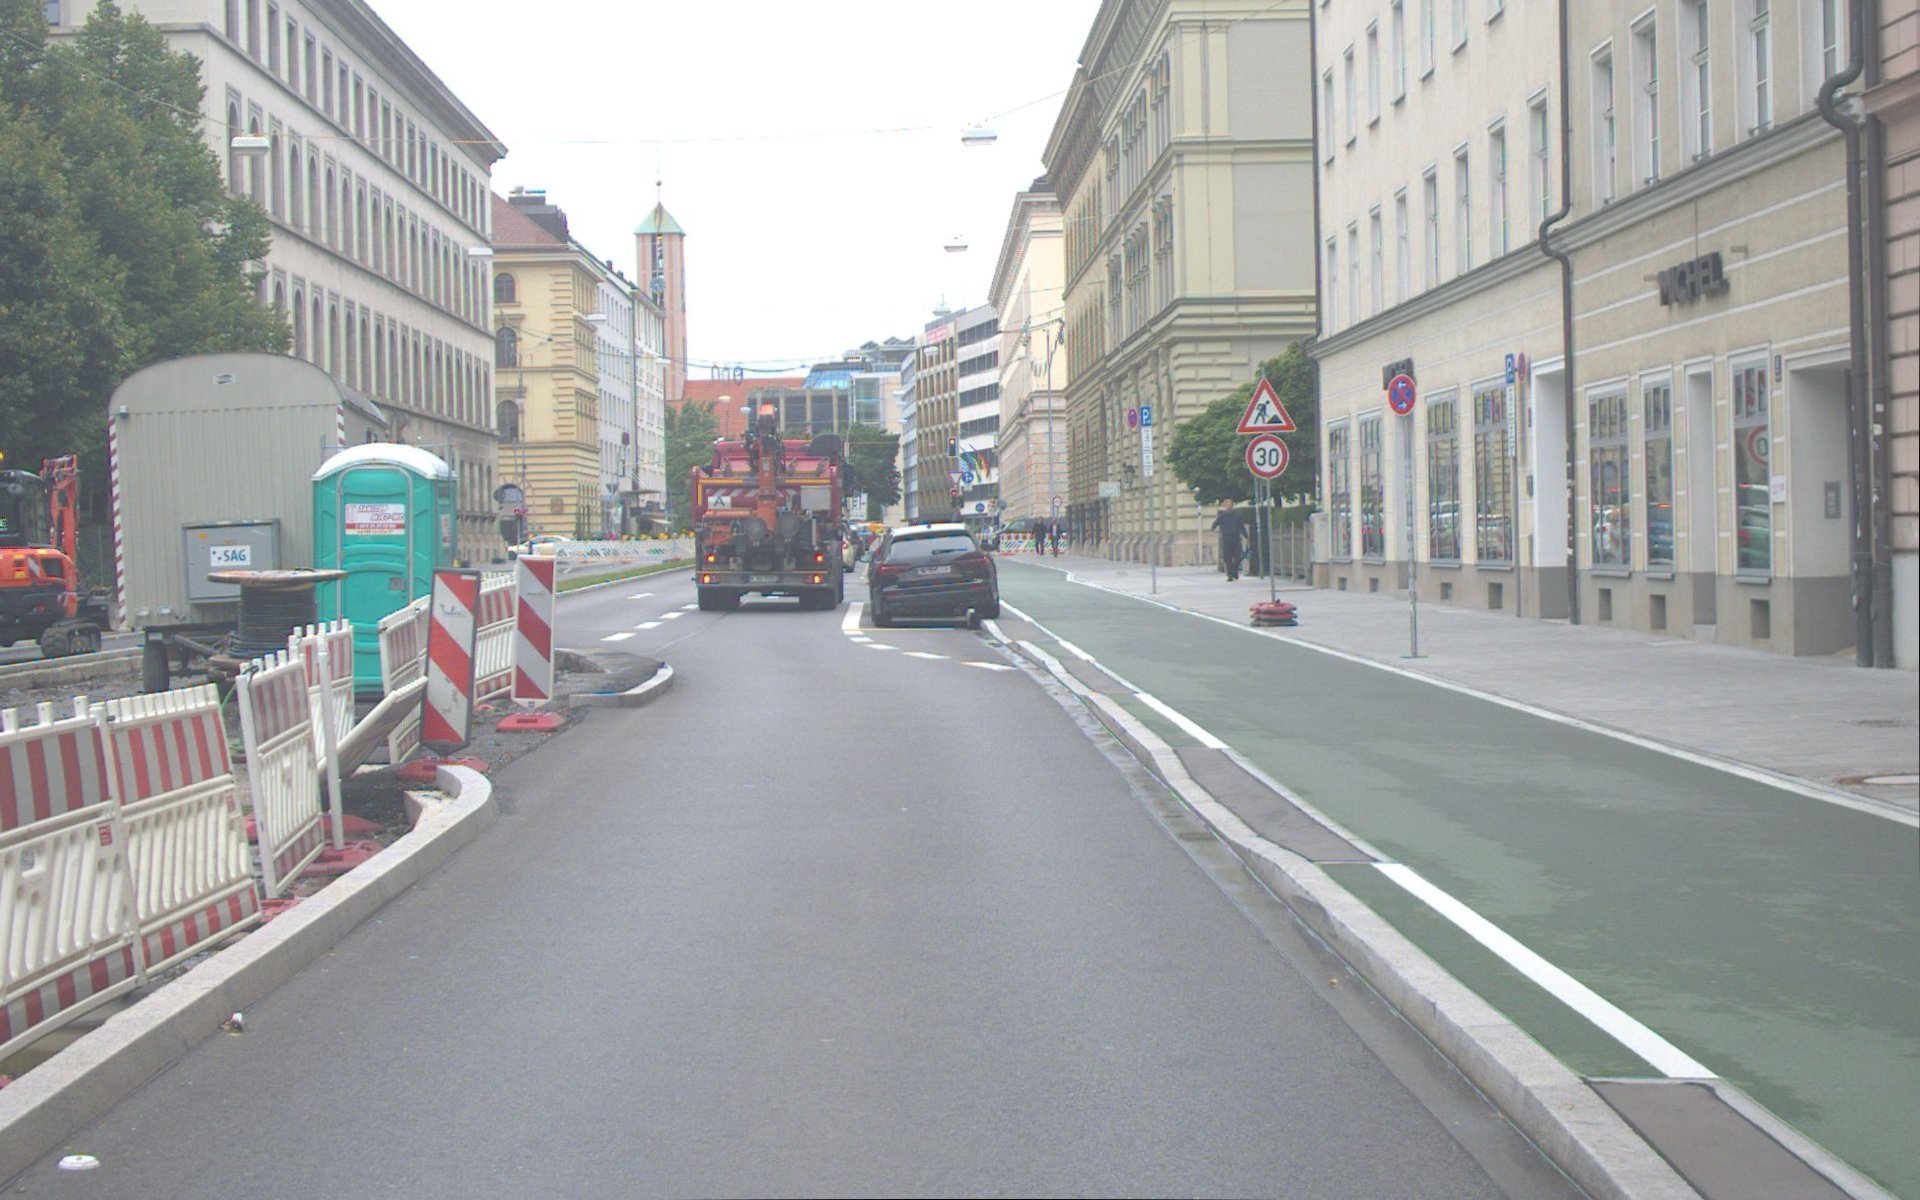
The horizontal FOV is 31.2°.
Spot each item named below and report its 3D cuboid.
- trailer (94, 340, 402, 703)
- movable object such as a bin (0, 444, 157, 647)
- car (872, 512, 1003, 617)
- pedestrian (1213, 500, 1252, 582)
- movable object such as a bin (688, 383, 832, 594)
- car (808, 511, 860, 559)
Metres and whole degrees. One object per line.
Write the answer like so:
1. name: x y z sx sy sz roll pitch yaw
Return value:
1. trailer: -7.028 -0.796 34.751 2.226 3.232 7.521 -1 1 -6
2. movable object such as a bin: -12.194 -0.755 45.778 1.924 2.563 4.493 0 2 0
3. car: -0.382 -0.573 52.071 1.801 1.475 4.687 -1 1 -2
4. pedestrian: 6.175 -1.341 77.852 0.790 1.830 0.777 -1 1 0
5. movable object such as a bin: -3.550 -1.977 62.029 2.423 3.599 5.852 -1 1 -2
6. car: -4.053 -2.110 110.713 1.610 1.490 3.425 -1 1 -1
